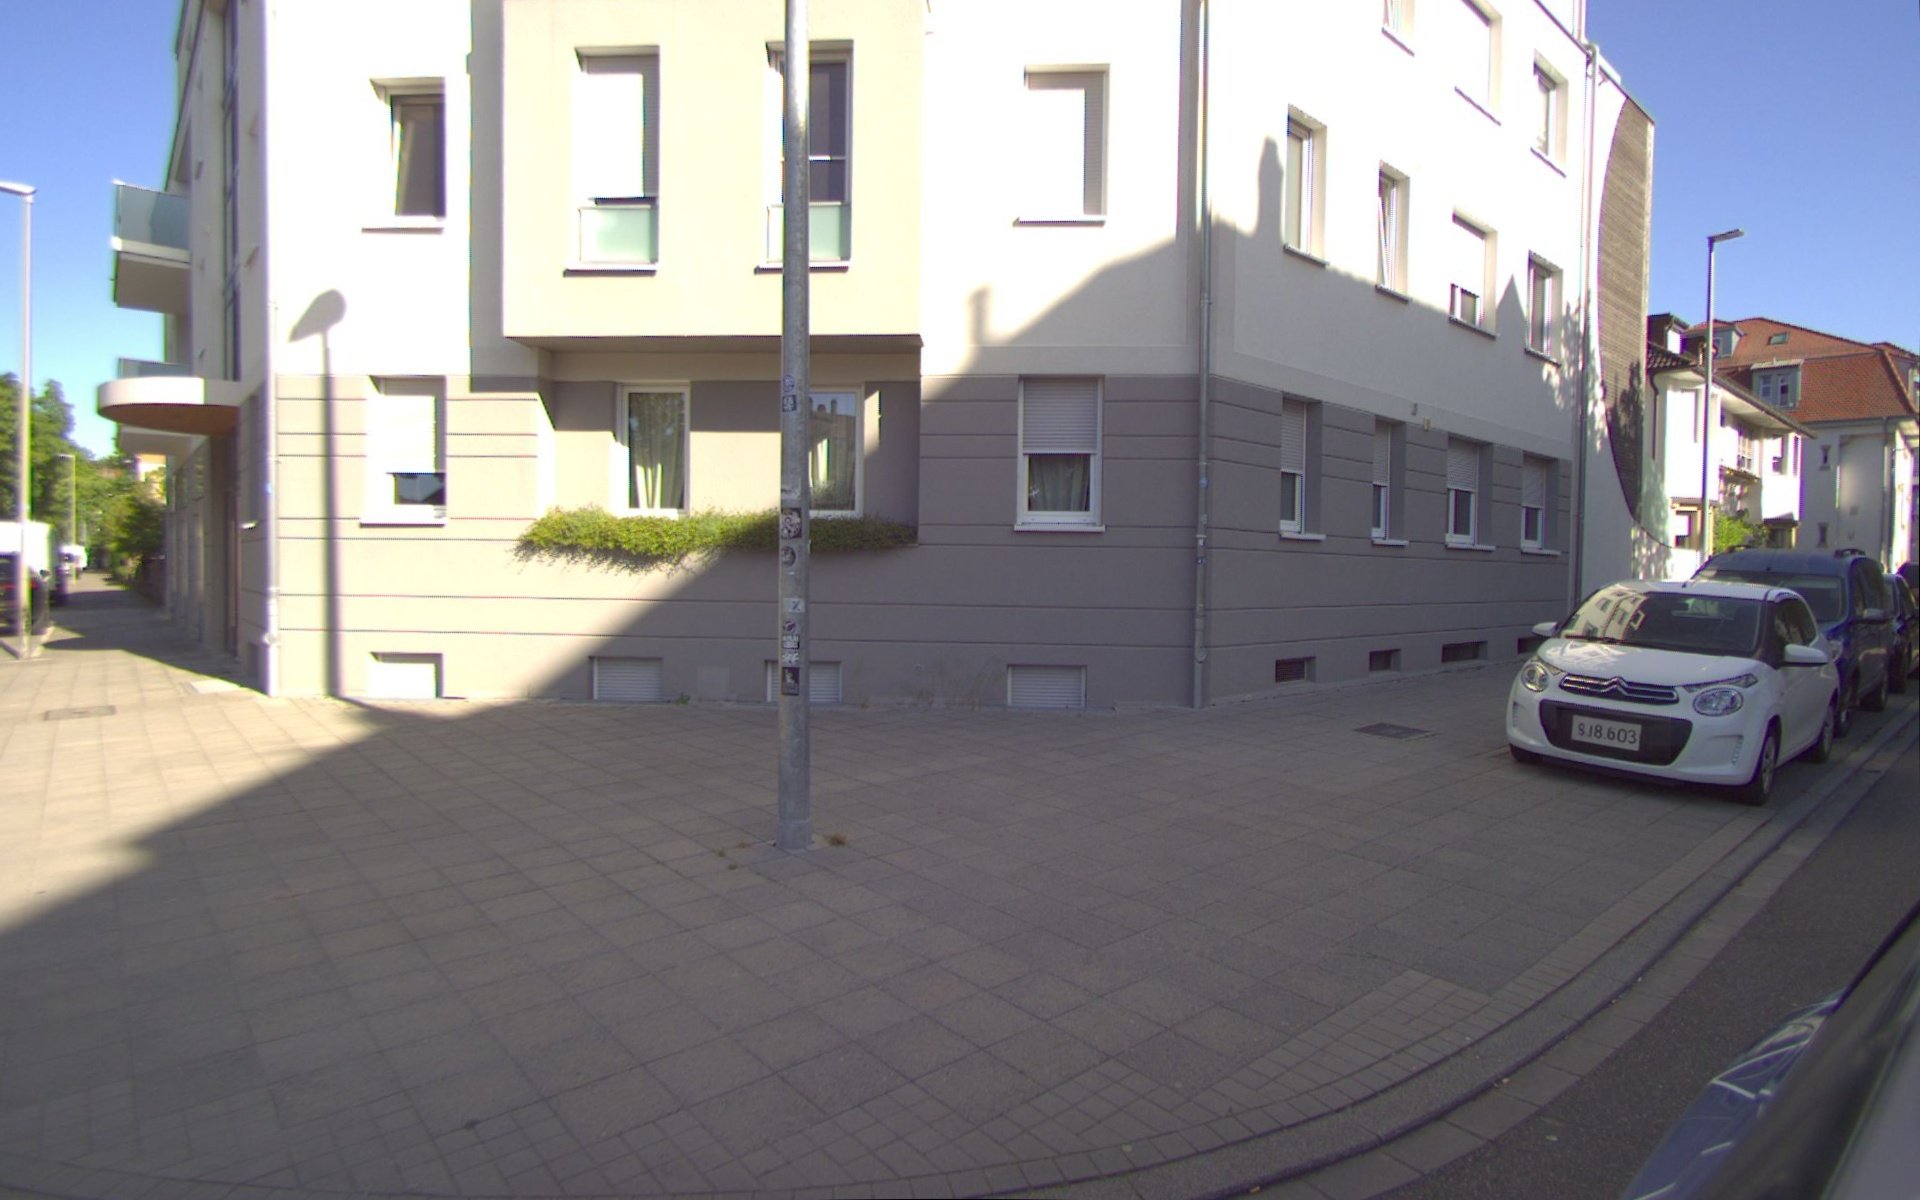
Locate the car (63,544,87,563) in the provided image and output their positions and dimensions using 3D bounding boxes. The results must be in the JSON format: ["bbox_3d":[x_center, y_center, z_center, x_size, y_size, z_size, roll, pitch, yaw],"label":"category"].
[{"bbox_3d":[-98.768,-5.207,112.931,1.832,1.868,3.991,2,1,-40],"label":"car"}]

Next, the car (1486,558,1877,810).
[{"bbox_3d":[5.821,0.463,8.021,3.625,1.465,1.665,-1,5,-42],"label":"car"}]

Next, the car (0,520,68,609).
[{"bbox_3d":[-28.881,-1.120,31.125,1.988,2.579,3.990,-2,3,-40],"label":"car"}]

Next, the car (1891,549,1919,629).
[{"bbox_3d":[24.967,-0.249,25.327,4.325,1.893,1.884,-1,5,-41],"label":"car"}]

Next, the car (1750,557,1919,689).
[{"bbox_3d":[12.961,0.234,14.590,3.996,1.560,1.665,-1,5,-41],"label":"car"}]

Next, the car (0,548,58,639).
[{"bbox_3d":[-19.439,-0.190,20.259,1.863,1.703,4.284,-2,4,-40],"label":"car"}]

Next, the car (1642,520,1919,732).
[{"bbox_3d":[9.142,0.155,11.074,4.183,1.857,1.665,-1,5,-41],"label":"car"}]
